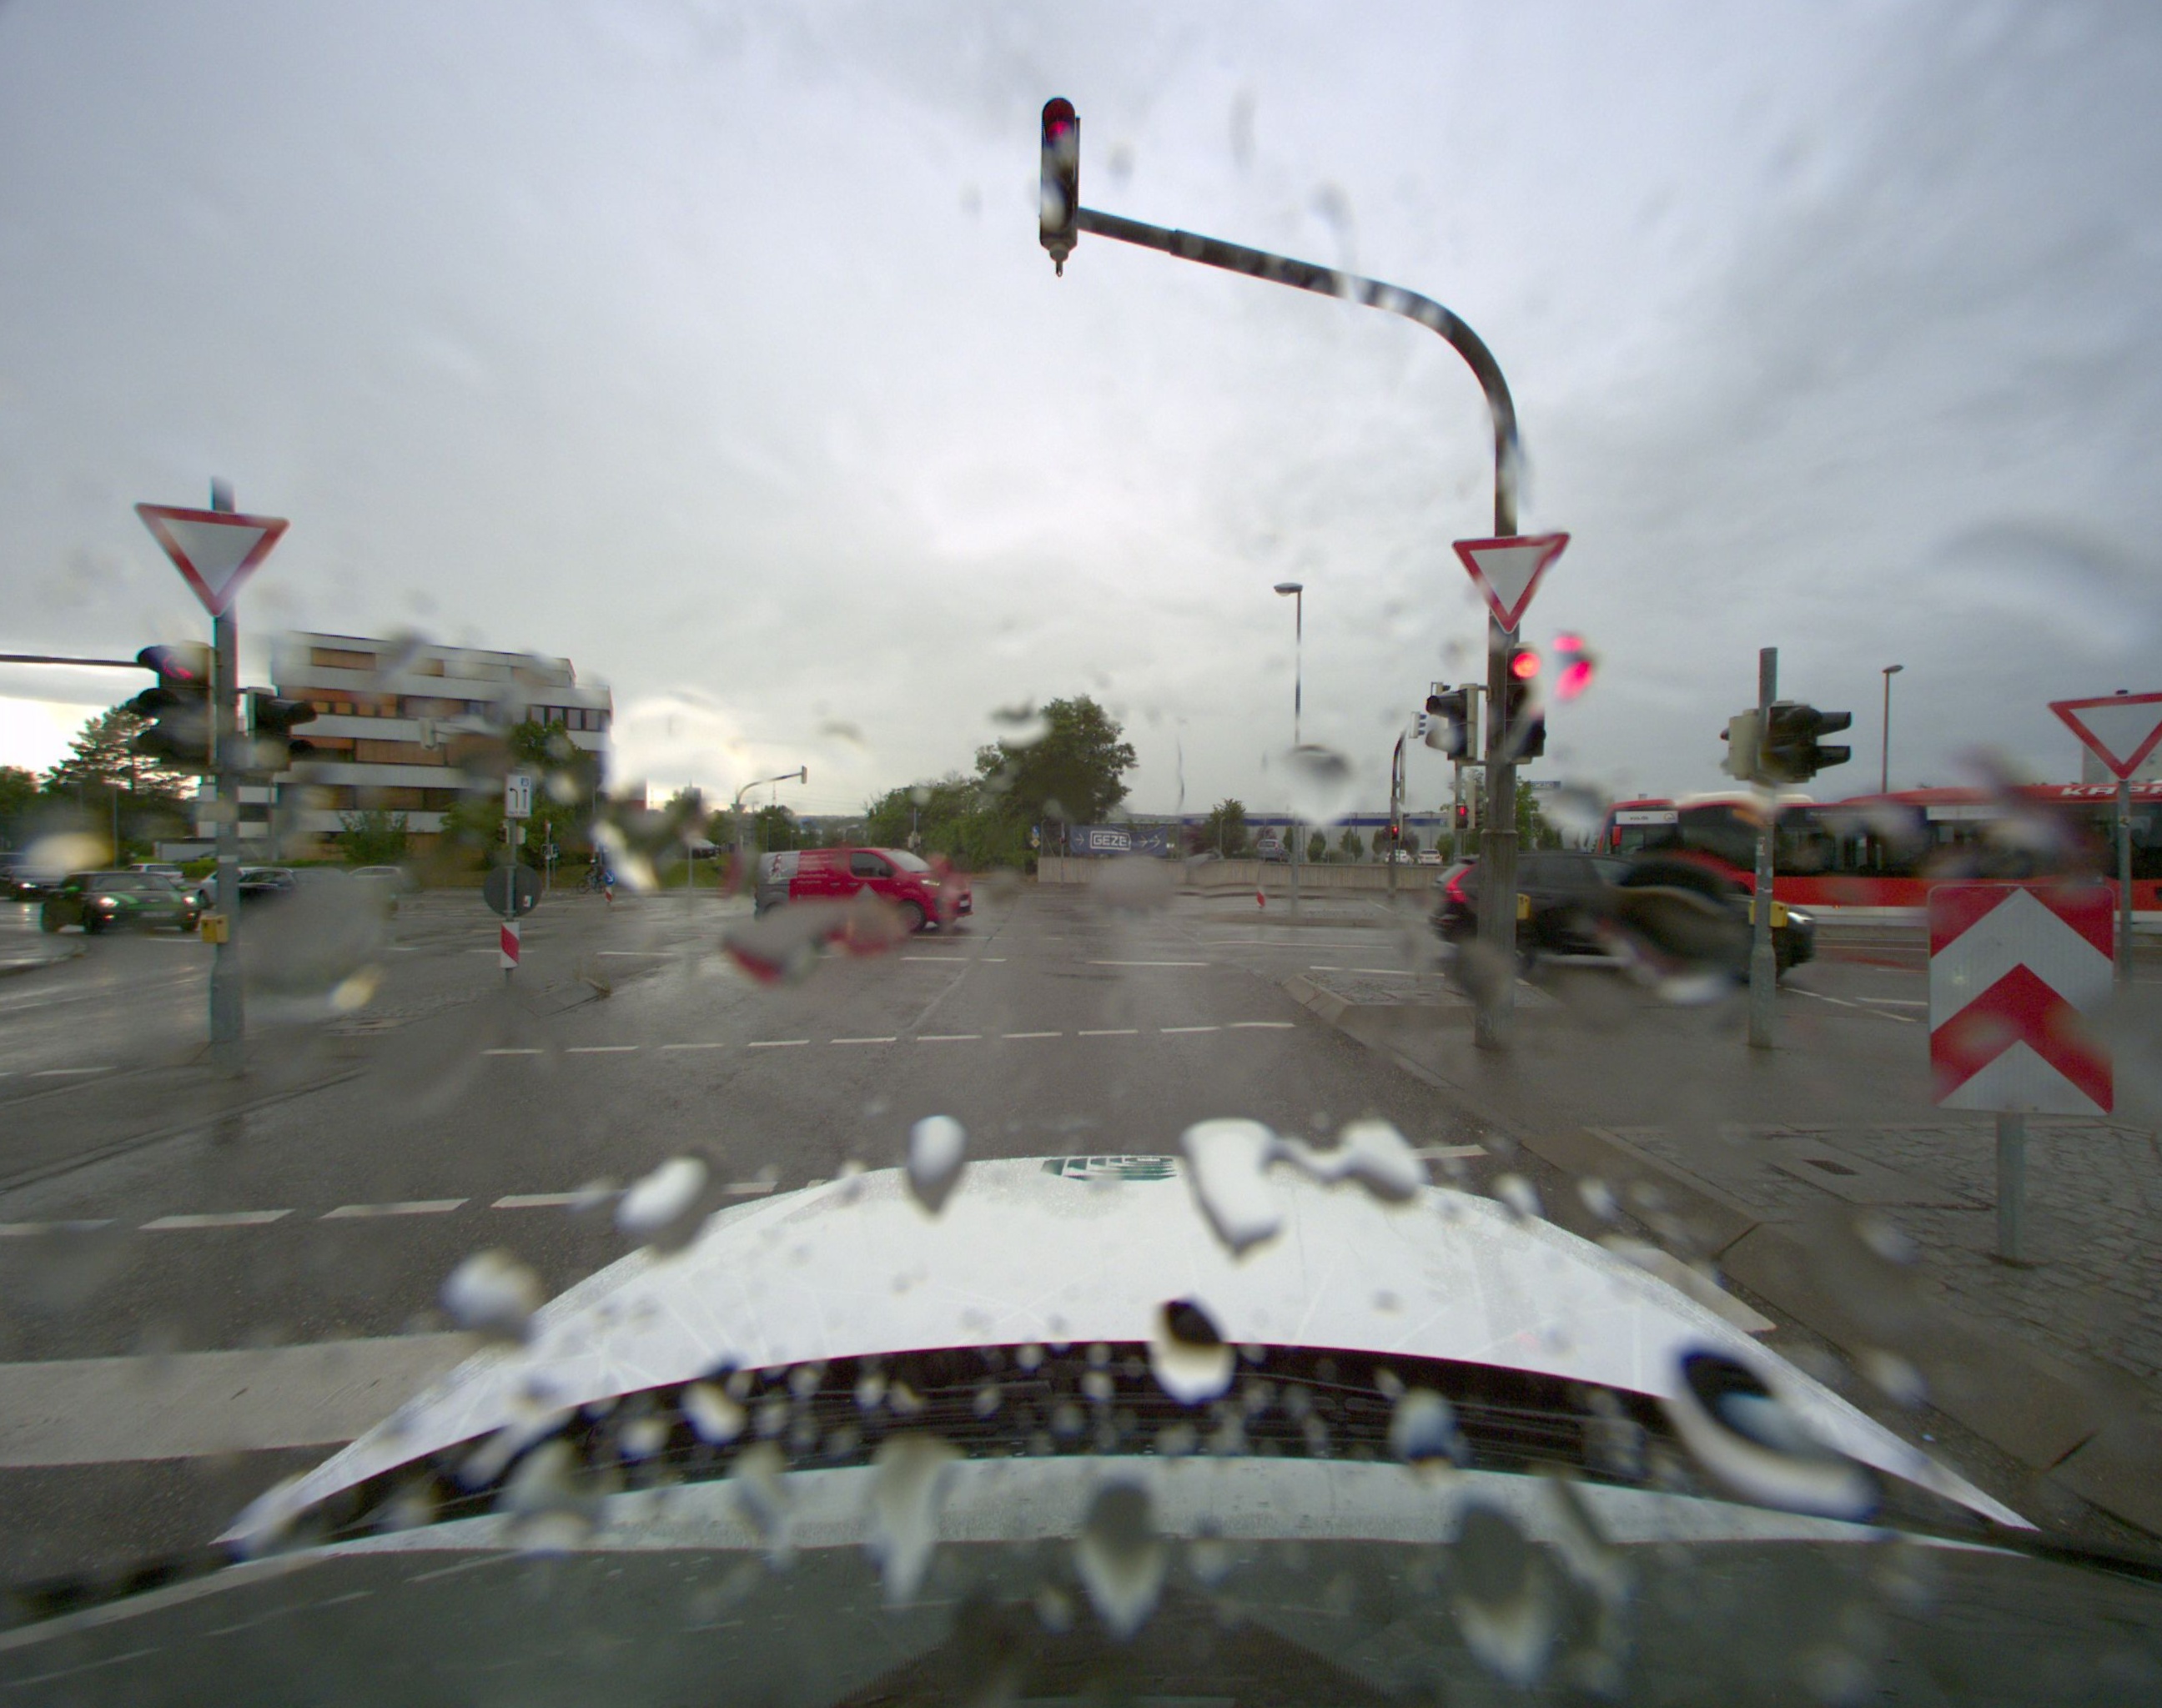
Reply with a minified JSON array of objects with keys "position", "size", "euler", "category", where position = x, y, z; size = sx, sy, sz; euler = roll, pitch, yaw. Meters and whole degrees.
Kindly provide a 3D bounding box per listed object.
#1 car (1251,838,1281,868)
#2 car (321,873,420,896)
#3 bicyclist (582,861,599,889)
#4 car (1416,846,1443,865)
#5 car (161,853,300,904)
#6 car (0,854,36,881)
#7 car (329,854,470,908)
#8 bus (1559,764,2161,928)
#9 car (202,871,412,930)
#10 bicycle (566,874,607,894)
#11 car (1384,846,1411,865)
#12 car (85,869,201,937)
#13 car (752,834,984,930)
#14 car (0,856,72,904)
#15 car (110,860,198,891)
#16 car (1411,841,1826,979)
[{"position":[13.099,-0.063,57.547],"size":[1.979,2.013,4.015],"euler":[0,0,13],"category":"car"},{"position":[-37.593,1.603,43.173],"size":[3.517,1.105,1.808],"euler":[0,0,-20],"category":"car"},{"position":[-26.141,1.102,43.394],"size":[0.542,1.446,0.602],"euler":[0,0,-5],"category":"bicyclist"},{"position":[28.692,0.122,67.169],"size":[1.976,1.478,4.021],"euler":[0,0,21],"category":"car"},{"position":[-30.145,0.834,28.873],"size":[3.953,1.684,2.010],"euler":[0,0,21],"category":"car"},{"position":[-76.279,0.918,57.995],"size":[3.948,1.849,2.013],"euler":[0,0,34],"category":"car"},{"position":[-24.853,0.943,29.740],"size":[4.108,1.840,2.009],"euler":[0,0,17],"category":"car"},{"position":[18.666,-0.250,19.367],"size":[12.176,3.321,3.090],"euler":[1,0,19],"category":"bus"},{"position":[-21.596,1.247,22.795],"size":[4.627,1.476,2.007],"euler":[0,0,13],"category":"car"},{"position":[-26.340,1.593,43.382],"size":[1.771,1.052,0.609],"euler":[0,0,-5],"category":"bicycle"},{"position":[26.385,0.113,67.848],"size":[1.976,1.478,4.021],"euler":[0,0,22],"category":"car"},{"position":[-22.190,1.098,19.306],"size":[3.416,1.387,1.692],"euler":[0,0,41],"category":"car"},{"position":[-4.836,0.601,18.696],"size":[4.737,2.013,2.008],"euler":[0,0,14],"category":"car"},{"position":[-43.292,1.007,33.350],"size":[3.950,1.838,1.715],"euler":[0,0,28],"category":"car"},{"position":[-50.486,1.139,44.349],"size":[3.952,1.596,1.968],"euler":[0,0,22],"category":"car"},{"position":[7.299,0.675,11.685],"size":[4.581,1.679,2.043],"euler":[1,0,16],"category":"car"}]
